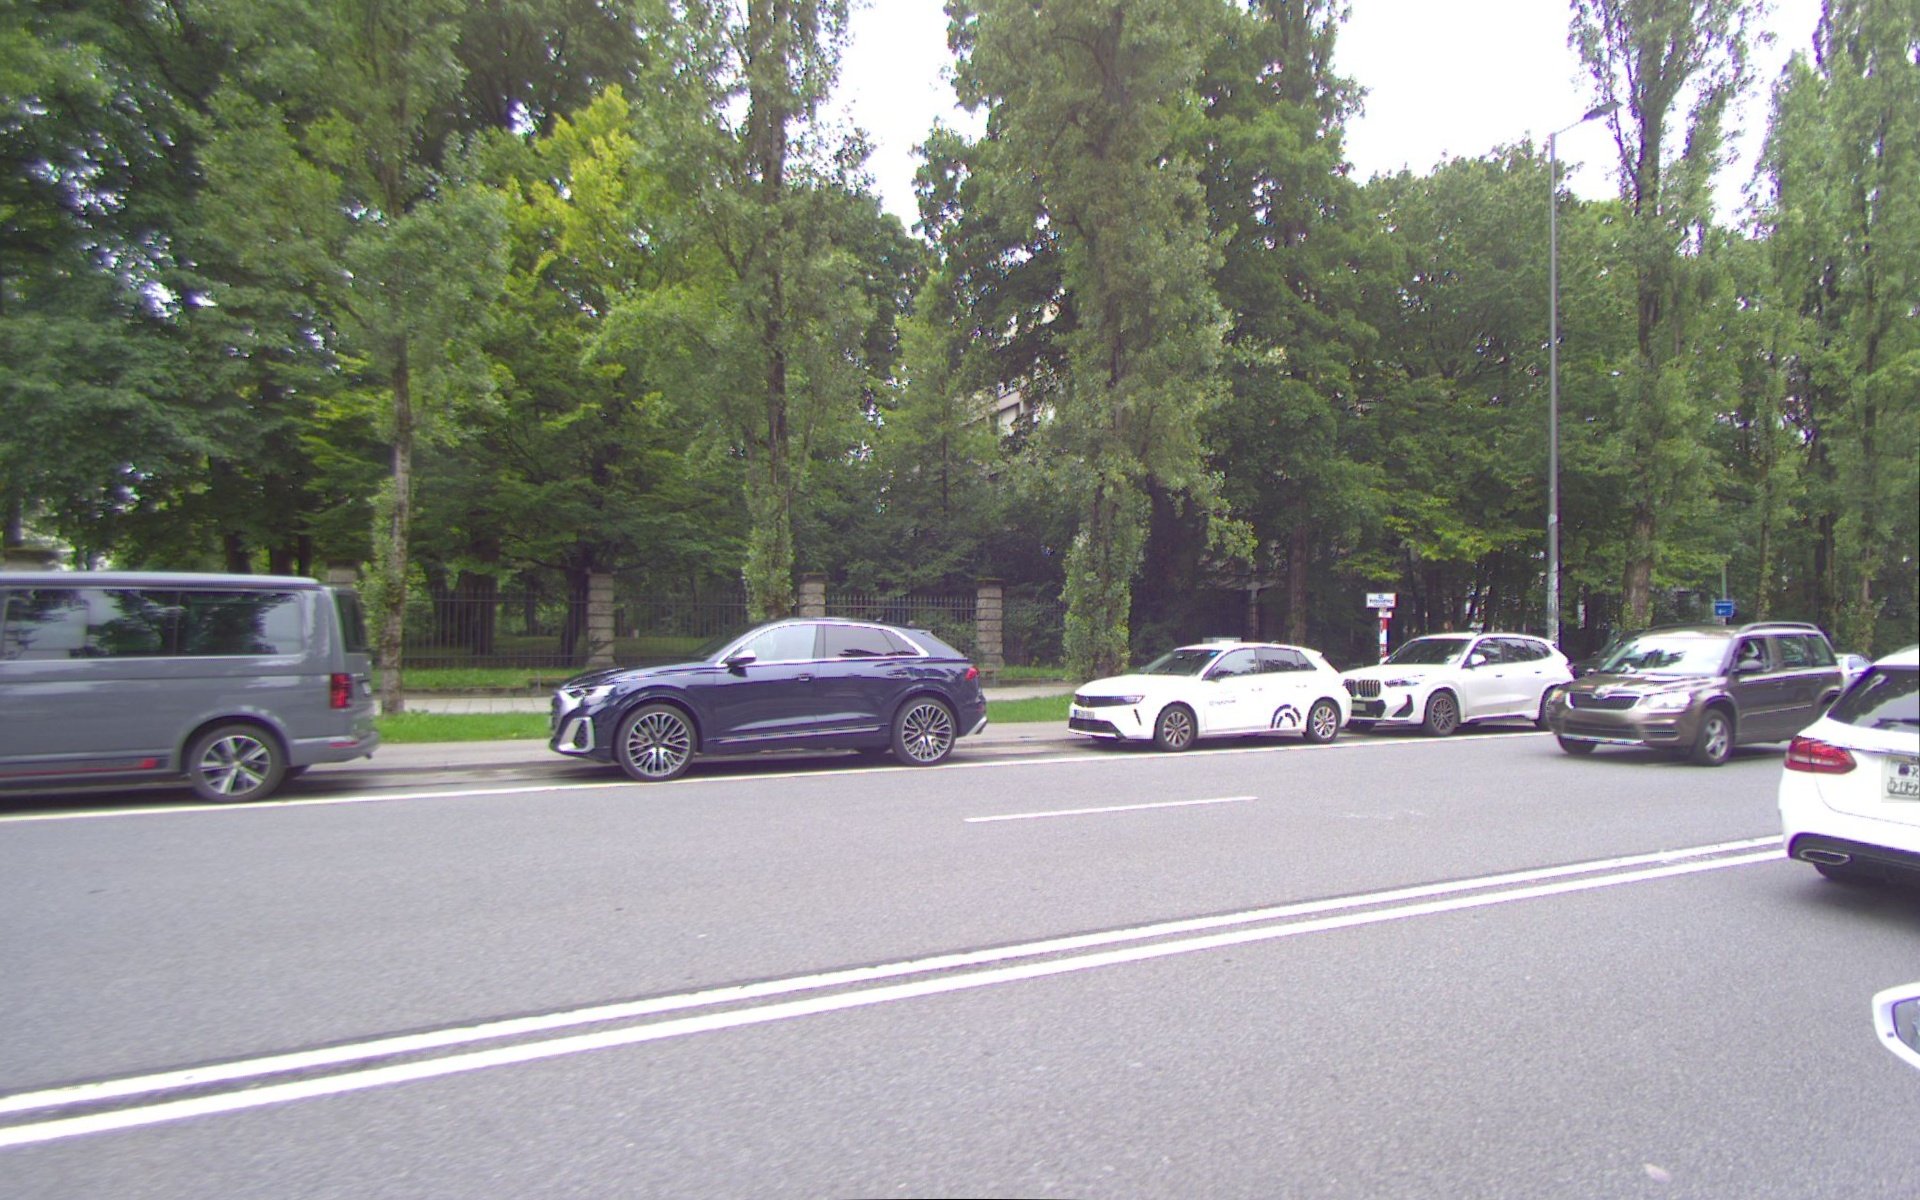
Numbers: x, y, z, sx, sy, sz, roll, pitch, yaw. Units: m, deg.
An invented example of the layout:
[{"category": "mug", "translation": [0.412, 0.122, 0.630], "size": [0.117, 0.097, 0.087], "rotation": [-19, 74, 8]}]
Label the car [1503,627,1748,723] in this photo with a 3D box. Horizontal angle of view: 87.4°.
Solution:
[{"category": "car", "translation": [12.968, 1.414, 19.537], "size": [4.657, 1.680, 1.874], "rotation": [1, -4, -27]}]

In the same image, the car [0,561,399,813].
[{"category": "car", "translation": [-7.860, 0.736, 8.912], "size": [4.871, 1.982, 1.988], "rotation": [1, -3, -26]}]

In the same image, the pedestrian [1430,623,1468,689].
[{"category": "pedestrian", "translation": [13.944, 1.581, 28.668], "size": [0.765, 1.839, 0.638], "rotation": [1, -1, -25]}]

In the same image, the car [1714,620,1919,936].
[{"category": "car", "translation": [6.580, 0.899, 5.680], "size": [4.521, 1.474, 1.820], "rotation": [2, -1, -25]}]

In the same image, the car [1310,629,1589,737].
[{"category": "car", "translation": [8.152, 1.320, 16.713], "size": [4.400, 1.609, 1.781], "rotation": [1, -3, -25]}]

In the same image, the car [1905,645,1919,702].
[{"category": "car", "translation": [26.077, 1.868, 25.558], "size": [3.952, 1.431, 1.680], "rotation": [2, -3, -27]}]

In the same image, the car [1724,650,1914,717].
[{"category": "car", "translation": [18.448, 1.741, 21.555], "size": [3.974, 1.321, 1.576], "rotation": [1, -3, -25]}]

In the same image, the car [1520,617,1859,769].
[{"category": "car", "translation": [9.289, 1.107, 12.773], "size": [4.059, 1.678, 1.779], "rotation": [1, -3, -26]}]

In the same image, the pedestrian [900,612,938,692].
[{"category": "pedestrian", "translation": [-0.927, 1.166, 22.739], "size": [0.664, 1.771, 0.547], "rotation": [1, -1, -26]}]

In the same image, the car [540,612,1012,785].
[{"category": "car", "translation": [-2.026, 1.041, 11.422], "size": [4.986, 1.629, 1.810], "rotation": [1, -4, -26]}]

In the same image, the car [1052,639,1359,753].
[{"category": "car", "translation": [3.534, 1.306, 14.393], "size": [4.181, 1.440, 1.671], "rotation": [2, -3, -26]}]
